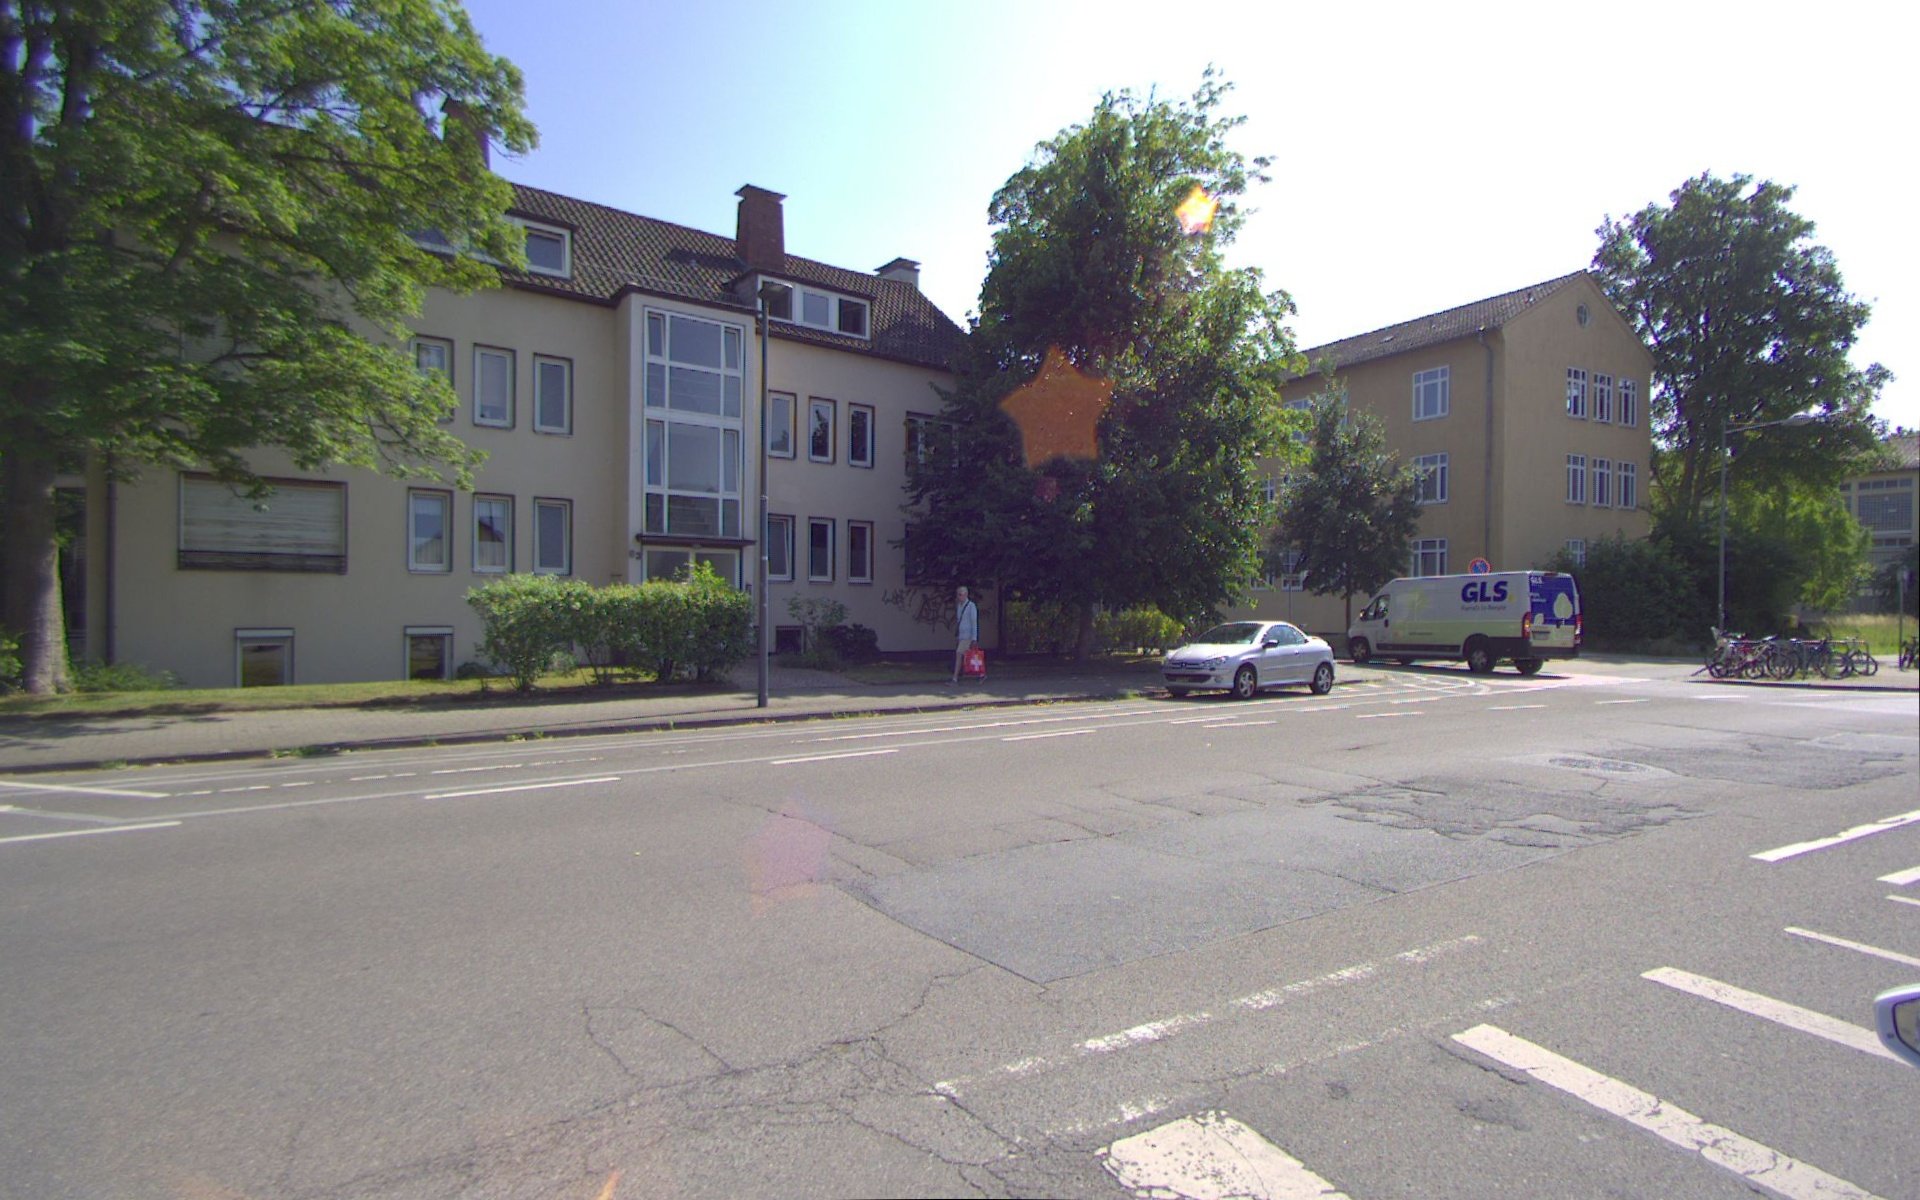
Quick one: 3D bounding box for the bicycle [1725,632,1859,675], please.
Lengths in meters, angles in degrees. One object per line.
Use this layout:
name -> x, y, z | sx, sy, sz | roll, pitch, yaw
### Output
bicycle -> 21.147, 1.335, 25.610 | 0.731, 1.000, 2.532 | 0, -1, -30

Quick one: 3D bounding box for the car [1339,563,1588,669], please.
car -> 13.498, 0.465, 27.518 | 2.251, 2.557, 6.101 | 0, -1, -23

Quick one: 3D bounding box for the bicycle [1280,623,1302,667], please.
bicycle -> 8.878, 1.197, 26.938 | 0.370, 1.095, 1.717 | 0, 0, 12

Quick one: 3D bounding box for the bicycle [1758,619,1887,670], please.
bicycle -> 23.237, 1.177, 27.131 | 0.731, 1.273, 2.532 | 0, 0, -30

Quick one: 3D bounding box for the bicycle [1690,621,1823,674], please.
bicycle -> 20.028, 1.165, 25.340 | 0.731, 1.255, 2.532 | 0, -1, -30

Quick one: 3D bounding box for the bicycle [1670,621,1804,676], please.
bicycle -> 19.182, 1.162, 24.863 | 0.731, 1.273, 2.532 | 0, -1, -30

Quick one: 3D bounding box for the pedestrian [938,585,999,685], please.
pedestrian -> 0.147, 0.634, 18.739 | 0.717, 1.803, 0.968 | 1, 0, -32

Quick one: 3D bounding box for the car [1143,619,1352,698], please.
car -> 5.400, 1.018, 18.685 | 3.962, 1.283, 1.708 | 0, -1, -37

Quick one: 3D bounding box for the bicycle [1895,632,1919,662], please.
bicycle -> 29.529, 1.441, 31.153 | 1.257, 0.915, 0.517 | 1, -2, -34

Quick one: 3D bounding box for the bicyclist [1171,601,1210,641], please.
bicyclist -> 8.526, 0.774, 37.182 | 0.943, 1.422, 1.353 | 0, -1, -10

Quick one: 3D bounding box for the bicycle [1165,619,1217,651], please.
bicycle -> 8.521, 1.267, 37.231 | 0.943, 1.128, 2.548 | 0, -1, -11

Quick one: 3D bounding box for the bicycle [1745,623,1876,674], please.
bicycle -> 22.248, 1.233, 26.343 | 0.731, 1.273, 2.503 | 0, -1, -30
